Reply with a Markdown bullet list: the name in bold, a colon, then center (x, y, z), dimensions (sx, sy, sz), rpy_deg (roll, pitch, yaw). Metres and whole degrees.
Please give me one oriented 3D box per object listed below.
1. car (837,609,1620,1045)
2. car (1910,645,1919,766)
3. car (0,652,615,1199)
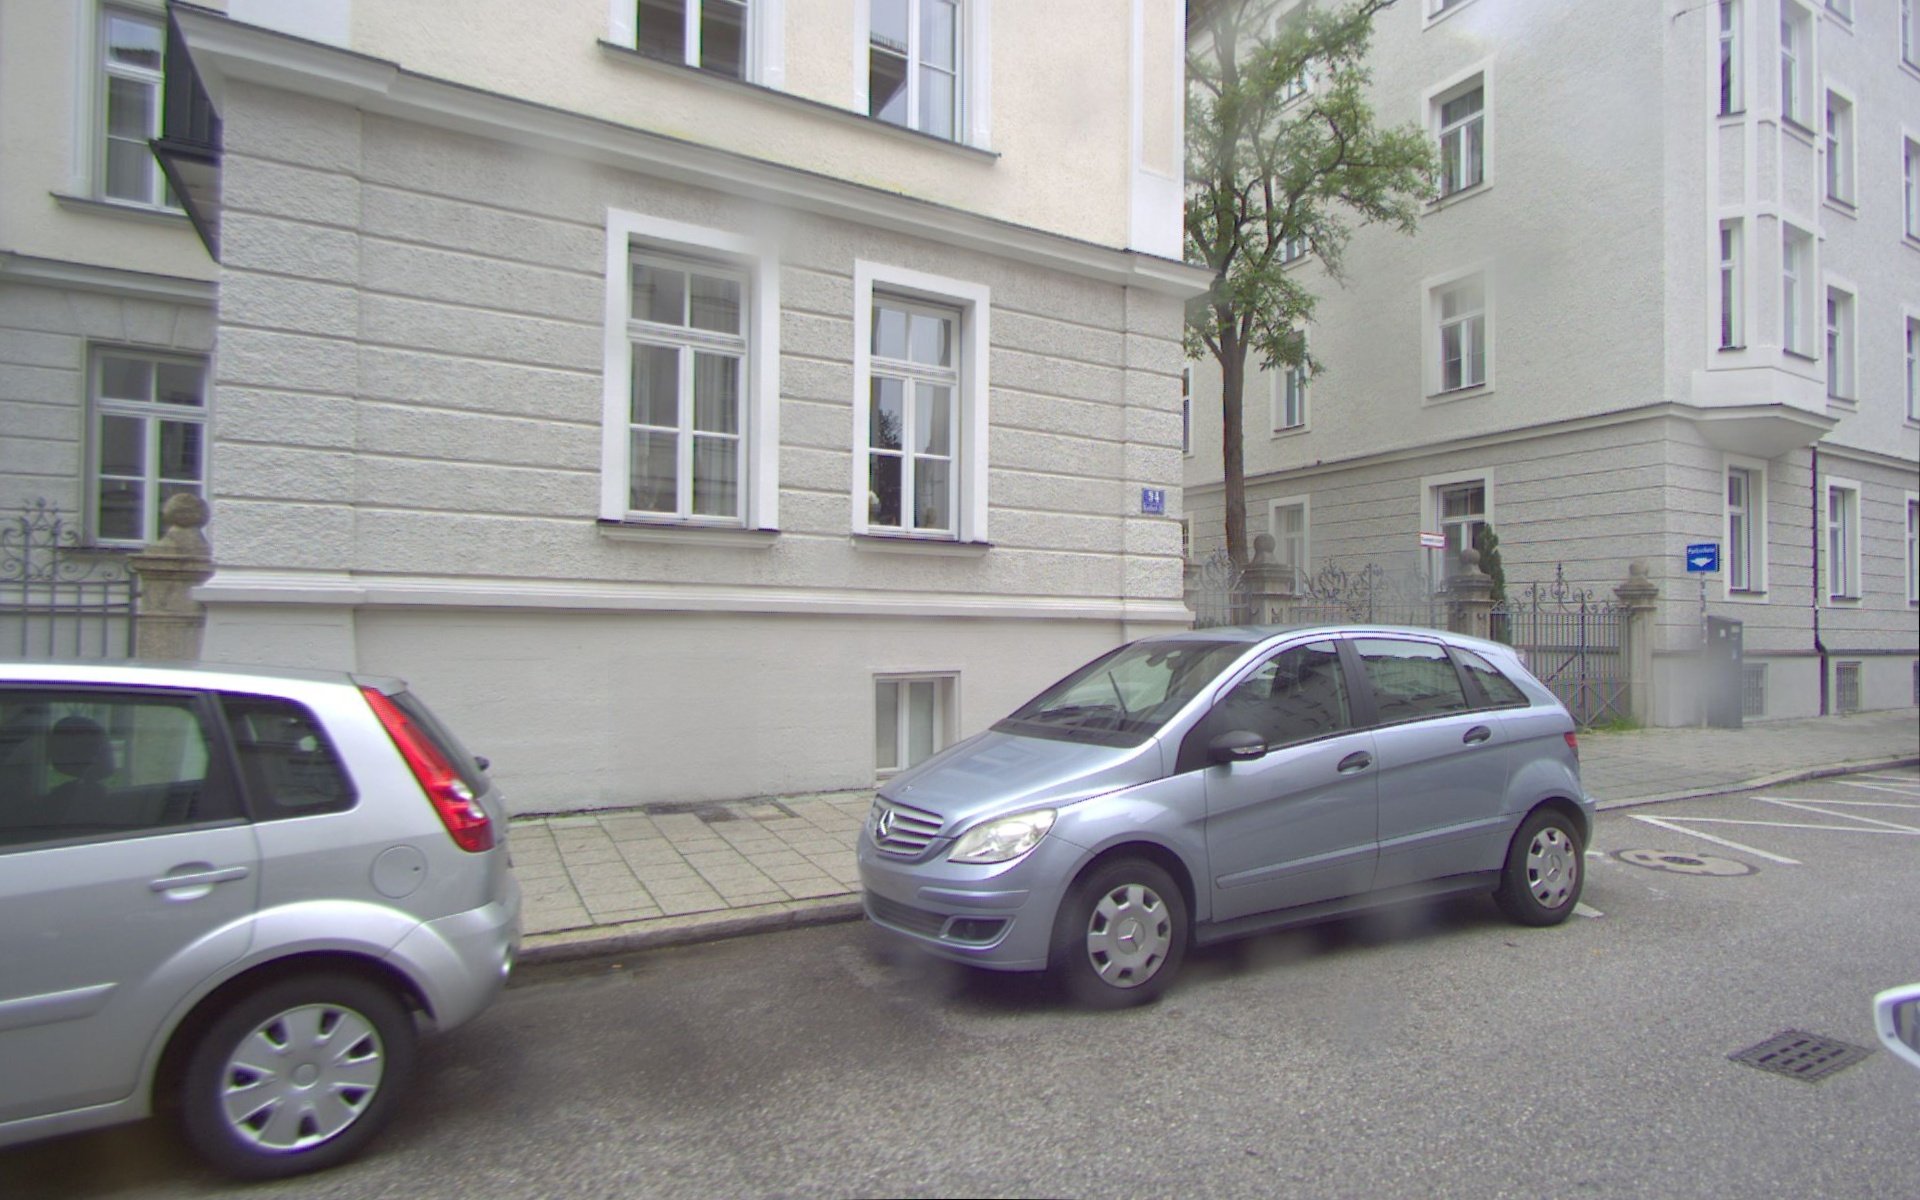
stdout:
- **car**: center (1.520, 0.904, 5.435), dimensions (4.011, 1.601, 1.690), rpy_deg (1, -4, -28)
- **car**: center (13.467, 1.239, 12.040), dimensions (4.648, 1.385, 1.840), rpy_deg (1, -1, -31)
- **car**: center (-3.199, 0.887, 2.869), dimensions (3.954, 1.421, 1.637), rpy_deg (1, -4, -31)
